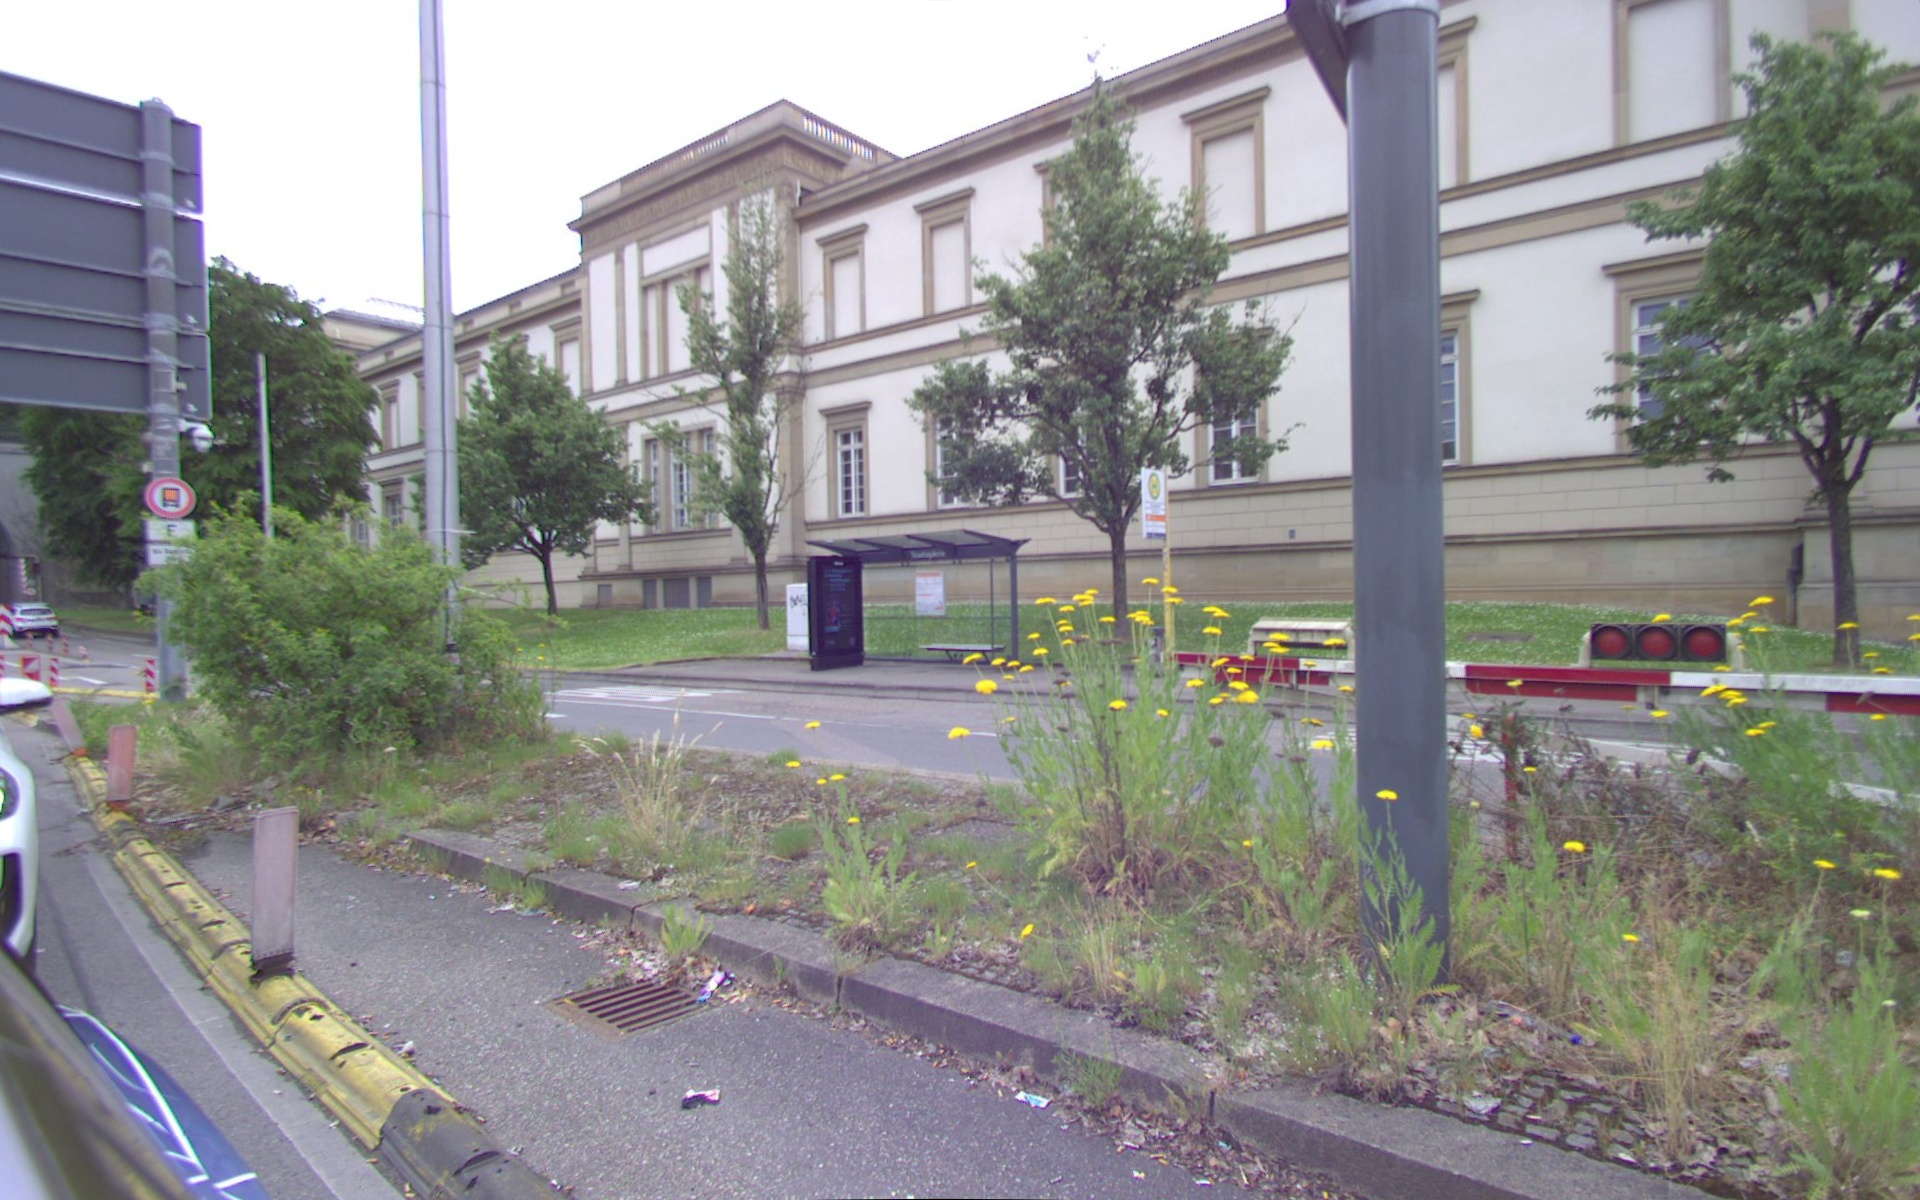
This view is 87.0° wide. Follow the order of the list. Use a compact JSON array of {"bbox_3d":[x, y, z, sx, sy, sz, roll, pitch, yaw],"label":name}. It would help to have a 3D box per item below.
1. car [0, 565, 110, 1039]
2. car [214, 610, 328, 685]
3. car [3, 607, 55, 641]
[{"bbox_3d":[-5.160,0.722,4.144,3.667,1.637,1.963,-1,0,40],"label":"car"},{"bbox_3d":[-18.041,1.164,26.428,1.810,1.759,4.003,-1,0,-44],"label":"car"},{"bbox_3d":[-47.387,1.242,51.513,1.876,1.637,4.111,-1,-1,-43],"label":"car"}]
